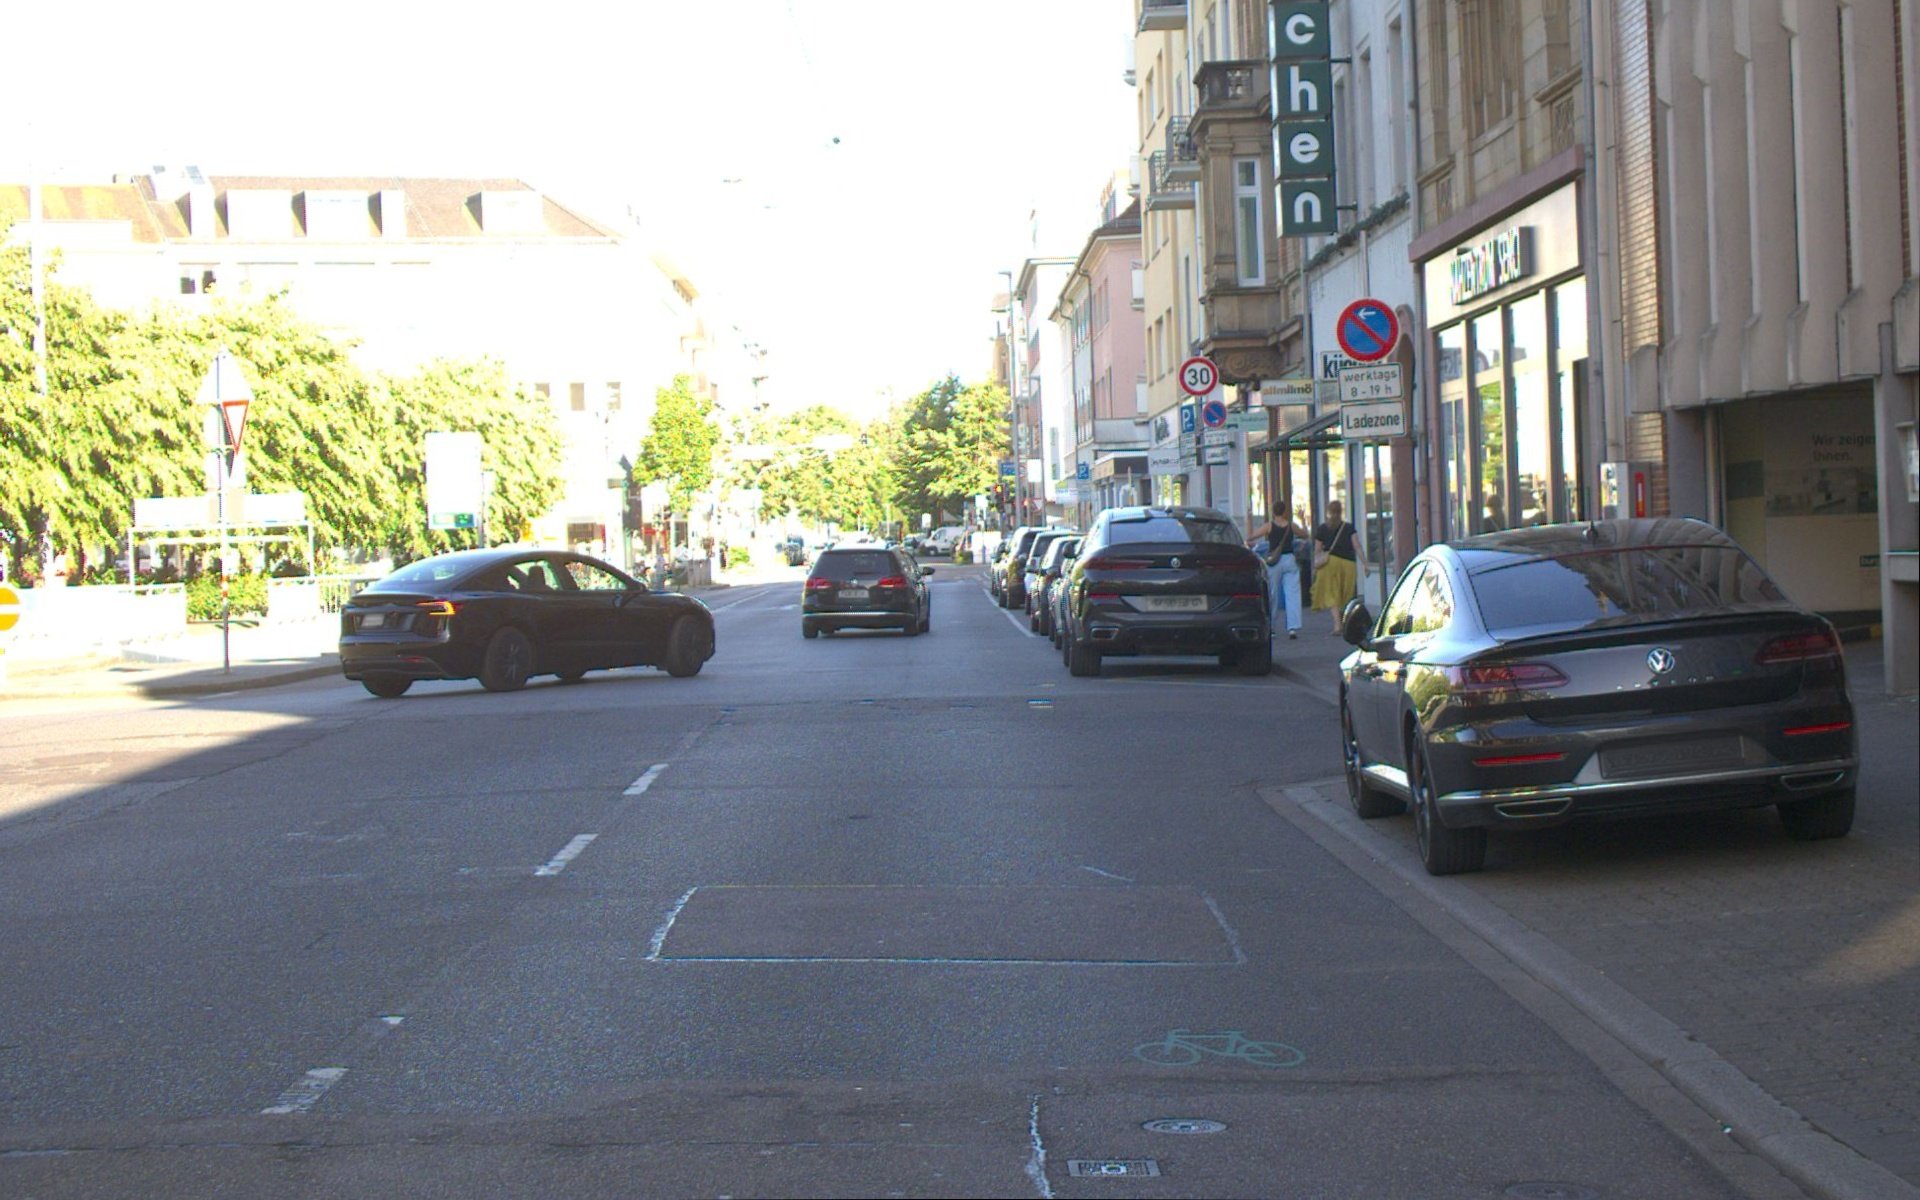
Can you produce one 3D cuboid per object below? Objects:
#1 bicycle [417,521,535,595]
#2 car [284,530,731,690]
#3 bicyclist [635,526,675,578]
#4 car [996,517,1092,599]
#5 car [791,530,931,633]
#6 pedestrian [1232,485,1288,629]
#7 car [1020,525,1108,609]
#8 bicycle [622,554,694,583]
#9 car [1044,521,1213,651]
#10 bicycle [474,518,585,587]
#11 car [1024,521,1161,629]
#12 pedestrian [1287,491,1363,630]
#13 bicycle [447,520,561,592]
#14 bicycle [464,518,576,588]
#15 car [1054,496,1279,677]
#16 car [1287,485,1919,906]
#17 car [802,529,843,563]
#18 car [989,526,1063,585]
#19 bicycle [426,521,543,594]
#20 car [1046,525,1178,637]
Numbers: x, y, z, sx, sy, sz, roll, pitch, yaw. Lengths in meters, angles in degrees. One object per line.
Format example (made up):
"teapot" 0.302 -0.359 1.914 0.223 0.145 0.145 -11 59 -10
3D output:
"bicycle" -13.686 -1.178 97.162 3.122 2.007 0.908 -1 1 9
"car" -4.614 0.070 35.651 1.999 1.475 4.486 -1 2 37
"bicyclist" -10.054 -1.576 113.360 1.146 1.680 0.915 -2 1 3
"car" 1.718 -0.853 71.186 1.716 1.630 4.085 -1 0 -2
"car" -1.496 -0.316 53.446 1.935 1.482 4.271 -1 1 1
"pedestrian" 3.743 -0.539 42.895 0.620 1.760 0.518 -2 1 2
"car" 1.970 -0.646 65.562 1.613 1.541 2.855 -1 2 1
"bicycle" -9.962 -1.037 113.367 2.244 0.880 0.923 -2 1 4
"car" 2.023 -0.210 42.249 1.839 1.482 4.185 -1 2 0
"bicycle" -12.933 -1.428 103.316 3.122 2.007 0.908 -1 1 9
"car" 1.980 -0.415 52.563 1.839 1.541 4.229 -1 2 -1
"pedestrian" 4.546 -0.495 42.885 0.801 1.669 0.589 -4 1 2
"bicycle" -13.282 -1.285 100.154 3.122 2.007 0.908 -1 1 9
"bicycle" -13.084 -1.399 102.273 3.122 2.007 0.908 -1 1 9
"car" 2.042 -0.196 35.264 1.973 1.719 4.824 -1 2 0
"car" 2.798 0.317 16.023 1.917 1.473 4.965 -6 1 0
"car" -7.472 -2.949 186.892 1.993 1.765 4.000 -1 2 1
"car" 1.677 -1.137 88.745 1.792 1.455 3.868 -1 0 0
"bicycle" -13.577 -1.212 98.118 3.122 2.007 0.908 -1 1 9
"car" 2.047 -0.291 47.109 1.608 1.444 3.831 -1 2 0
